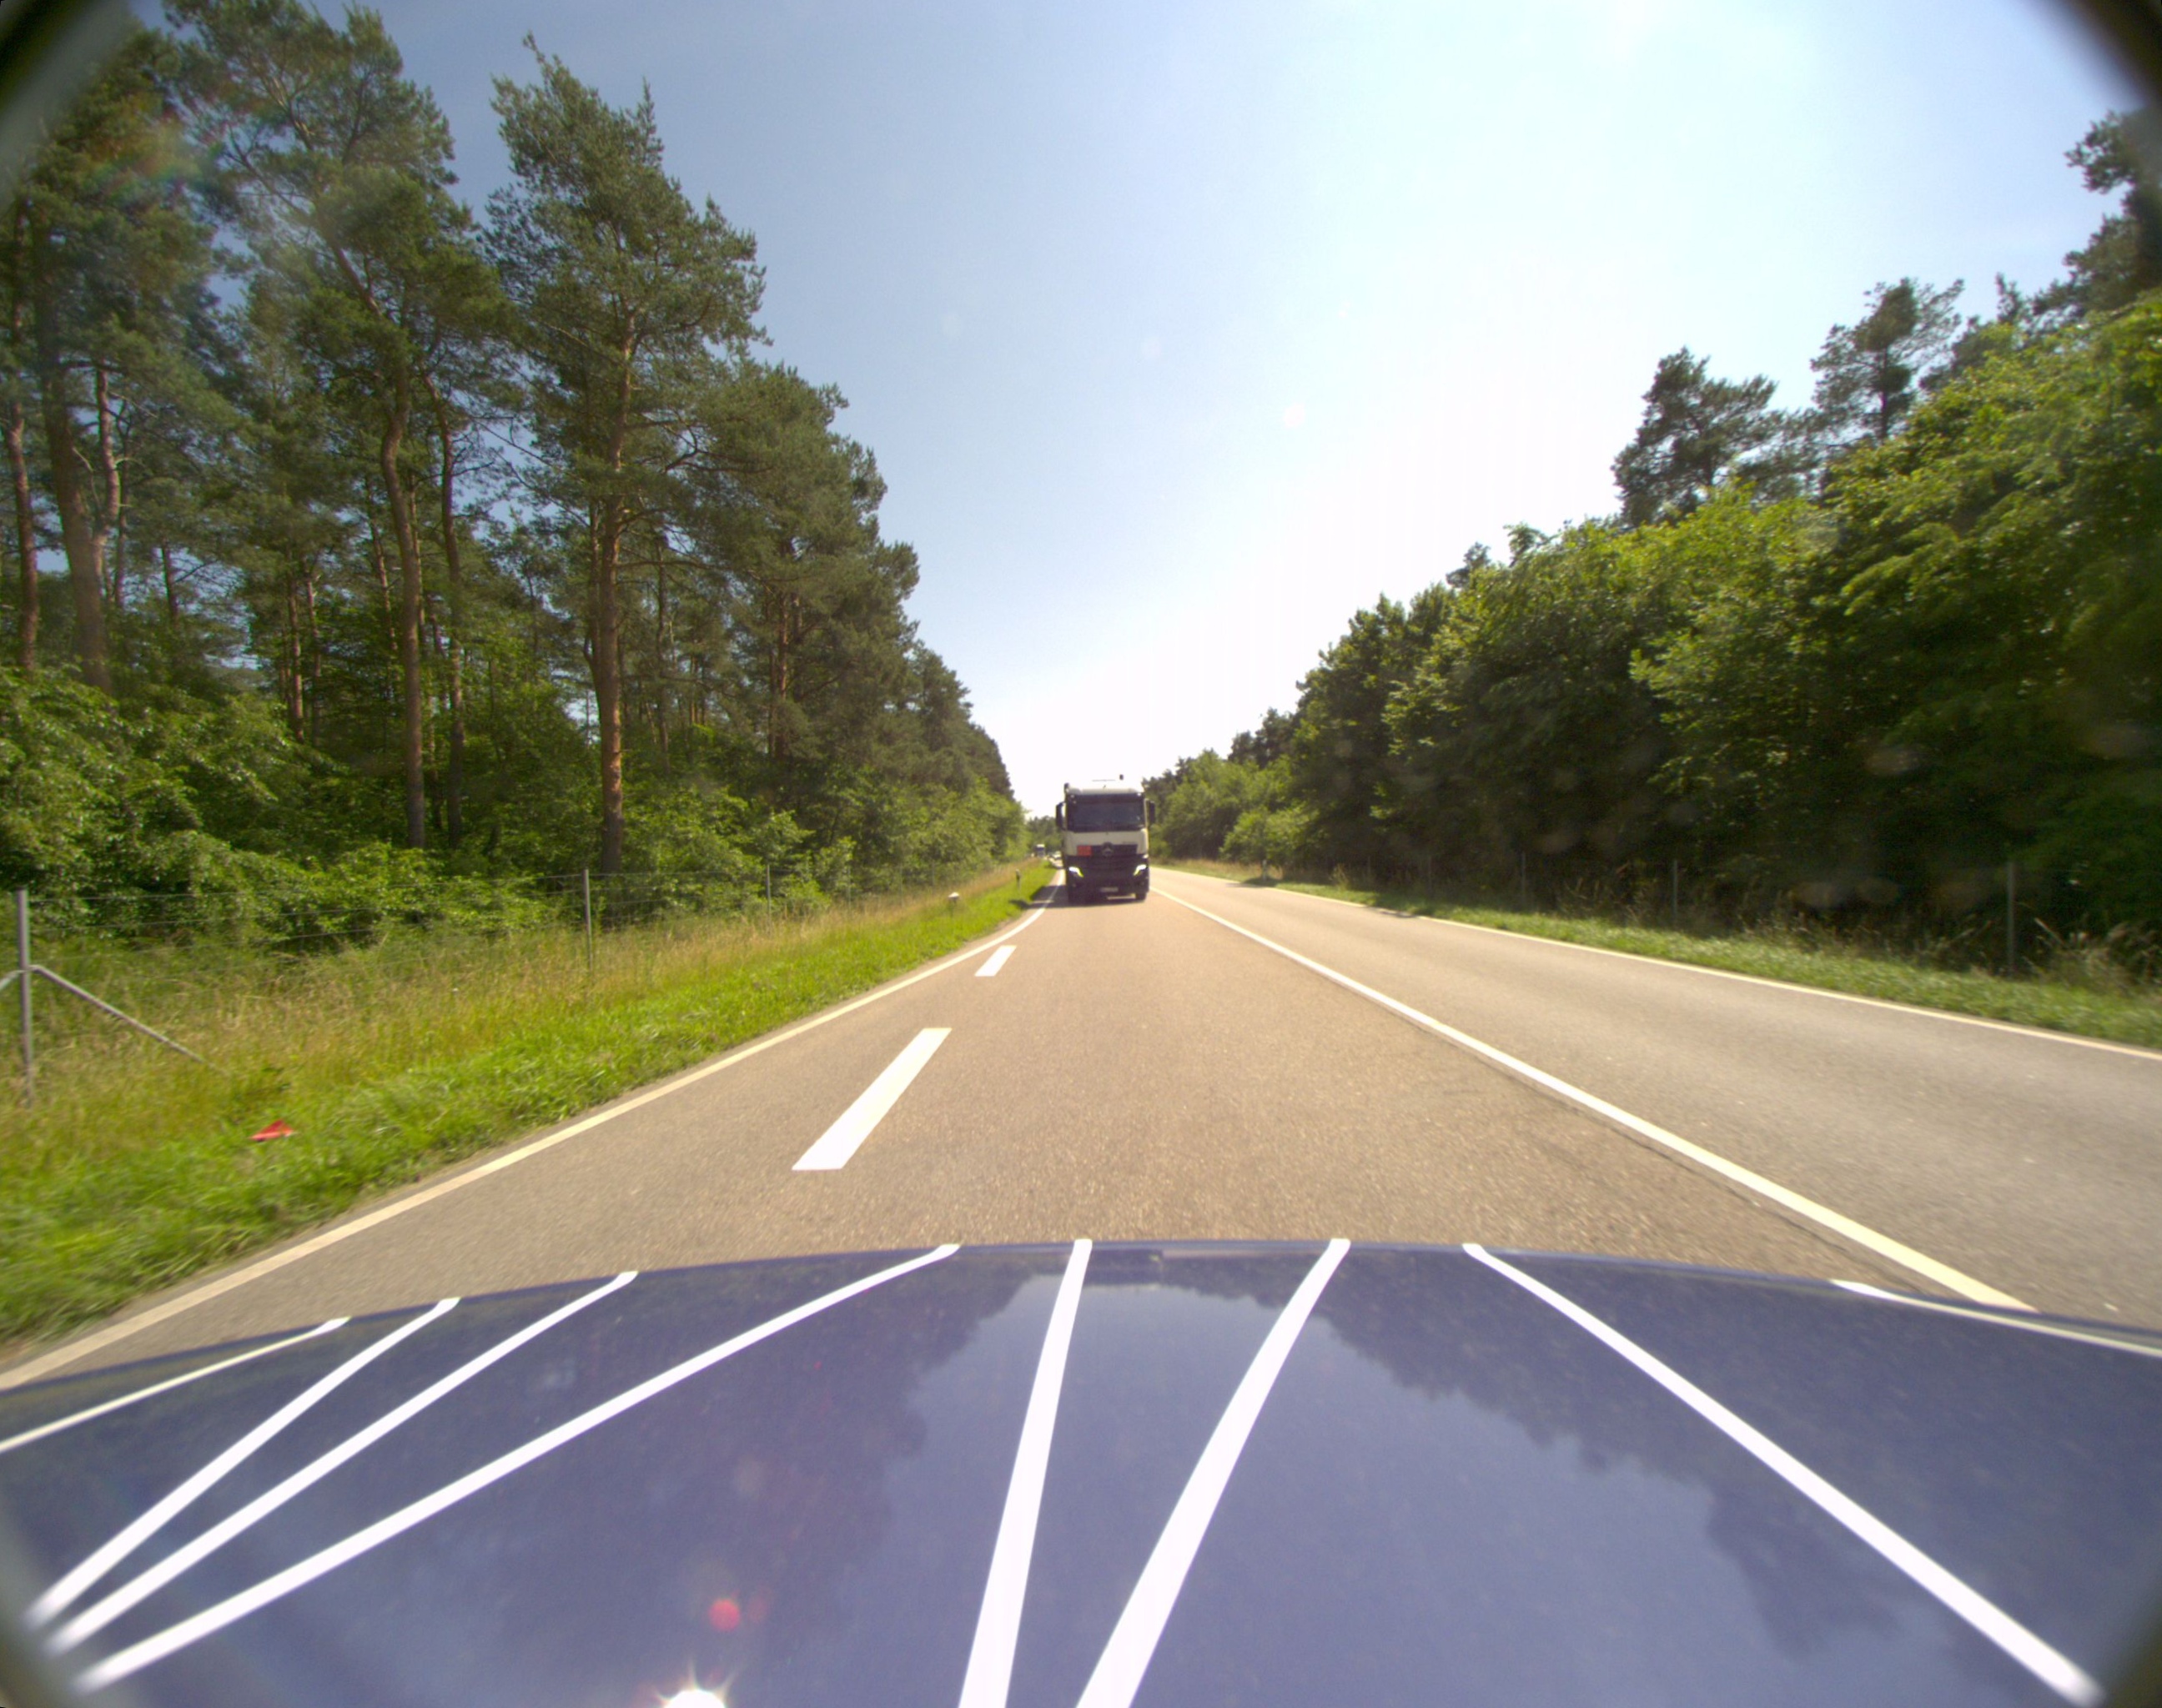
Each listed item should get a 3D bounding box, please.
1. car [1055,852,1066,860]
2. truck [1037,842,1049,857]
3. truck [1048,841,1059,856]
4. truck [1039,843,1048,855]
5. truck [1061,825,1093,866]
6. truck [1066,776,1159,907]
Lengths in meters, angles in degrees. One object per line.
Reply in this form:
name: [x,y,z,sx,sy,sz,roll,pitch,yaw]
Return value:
car: [-3.724,0.328,139.332,1.885,1.461,3.999,0,0,-3]
truck: [-9.194,-1.064,182.466,2.495,3.619,6.100,-1,0,-5]
truck: [-6.872,-1.441,190.846,2.495,3.619,6.100,-1,0,-5]
truck: [-11.645,-1.631,234.556,2.495,3.619,6.100,0,0,-5]
truck: [-0.460,-0.822,71.909,2.495,3.698,6.221,0,0,-5]
truck: [0.849,-0.361,25.151,2.435,3.672,6.455,-3,0,-2]
